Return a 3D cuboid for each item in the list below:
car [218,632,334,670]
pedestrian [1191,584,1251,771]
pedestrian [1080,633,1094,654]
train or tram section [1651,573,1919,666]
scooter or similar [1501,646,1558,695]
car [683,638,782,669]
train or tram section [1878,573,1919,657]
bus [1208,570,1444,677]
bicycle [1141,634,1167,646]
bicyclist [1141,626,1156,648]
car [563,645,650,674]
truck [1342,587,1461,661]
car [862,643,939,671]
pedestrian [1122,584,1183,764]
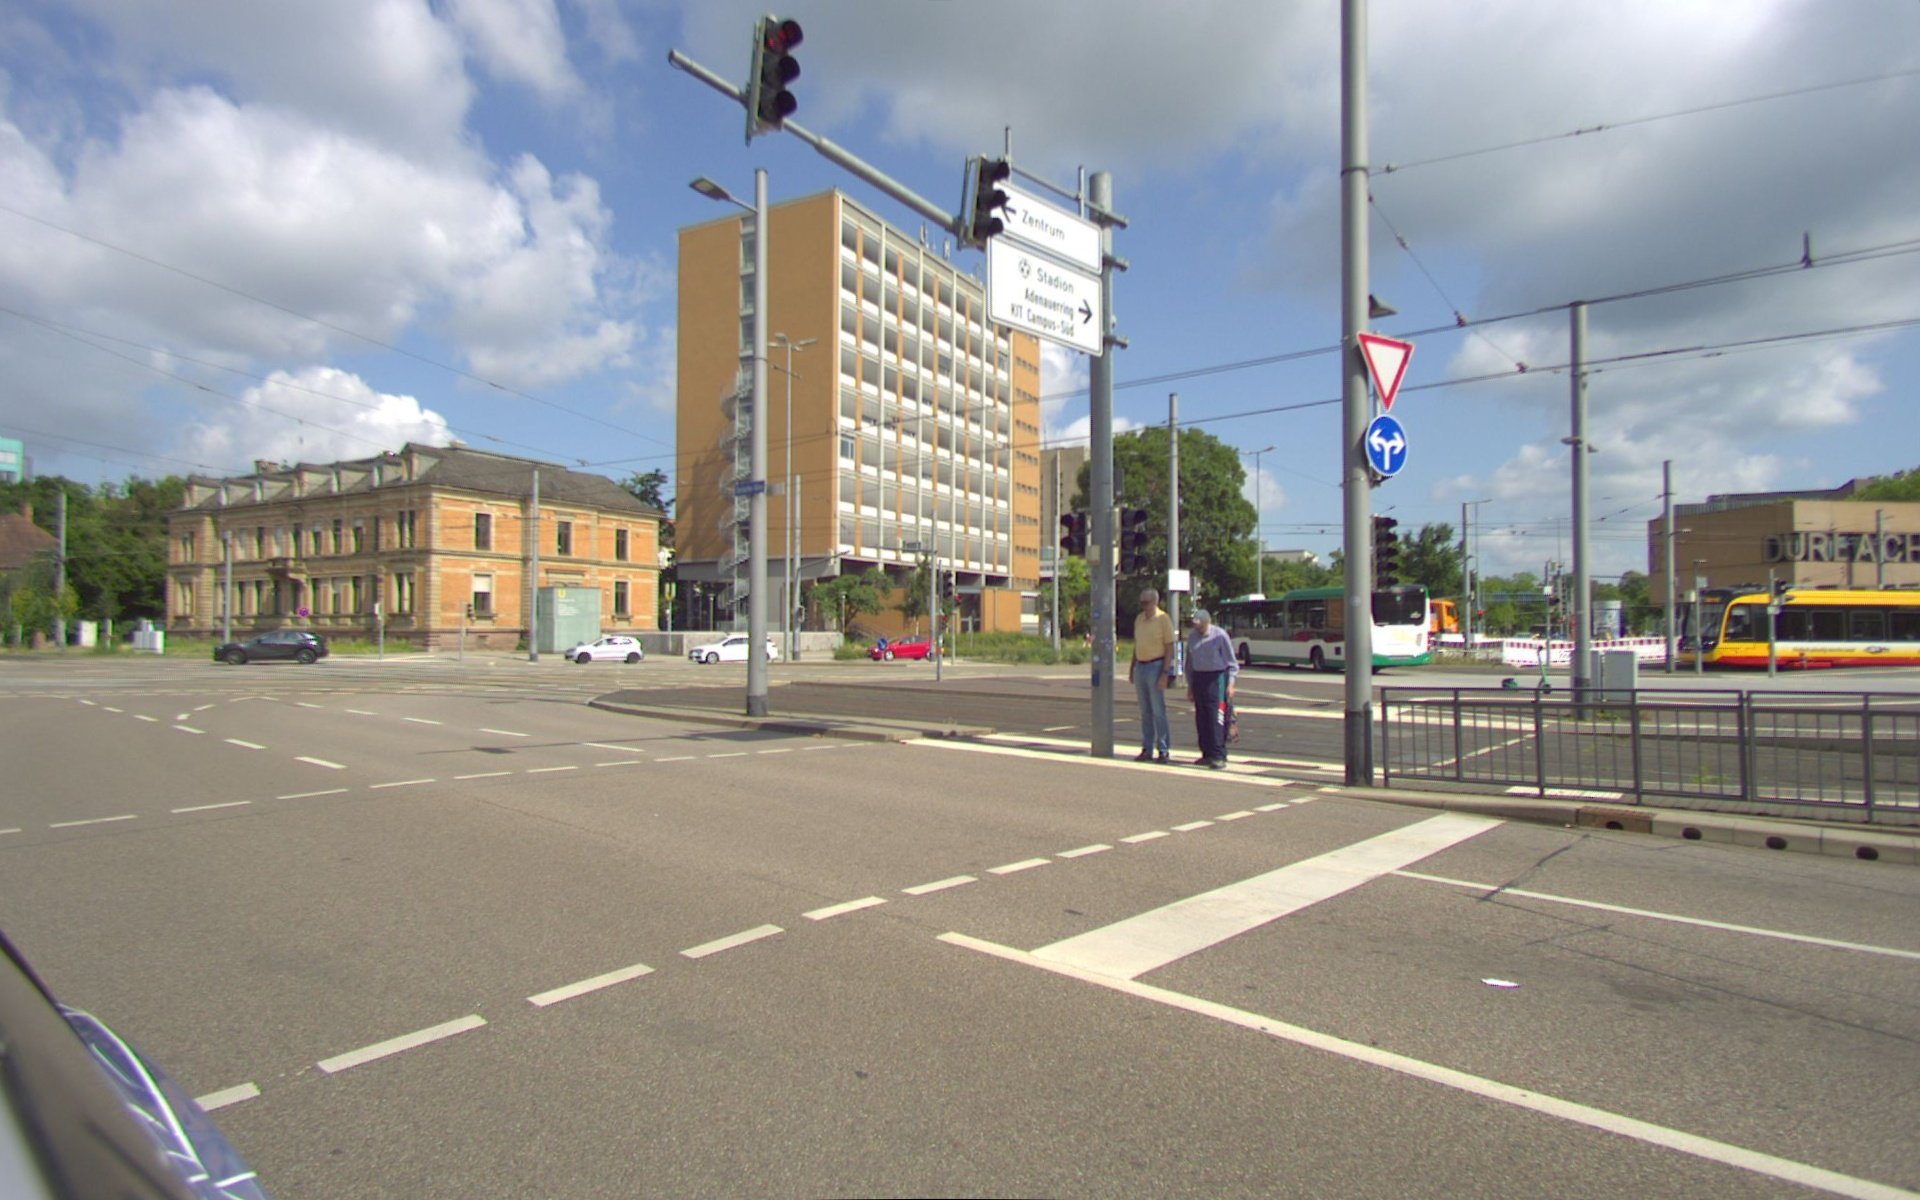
[{"bbox_3d":[-30.773,2.284,45.670,4.139,1.588,1.652,0,-4,-26],"label":"car"},{"bbox_3d":[2.931,0.852,11.359,0.514,2.029,0.498,-1,-3,30],"label":"pedestrian"},{"bbox_3d":[9.764,3.333,77.776,0.947,1.590,0.766,-1,-2,13],"label":"pedestrian"},{"bbox_3d":[35.134,0.834,42.166,10.448,3.507,3.327,-1,-3,-4],"label":"train or tram section"},{"bbox_3d":[14.043,1.725,24.955,1.164,1.175,0.804,-1,-2,33],"label":"scooter or similar"},{"bbox_3d":[-11.677,2.756,51.990,4.595,1.440,1.768,0,-4,-31],"label":"car"},{"bbox_3d":[45.530,0.513,42.854,10.448,3.507,3.327,-1,-3,-4],"label":"train or tram section"},{"bbox_3d":[14.051,1.009,40.705,2.868,3.648,12.405,1,-2,-11],"label":"bus"},{"bbox_3d":[14.934,3.109,77.881,1.778,0.881,0.763,1,0,-19],"label":"bicycle"},{"bbox_3d":[14.476,2.843,77.847,0.921,1.684,0.581,0,-1,-19],"label":"bicyclist"},{"bbox_3d":[-18.230,3.070,52.227,4.008,1.396,1.593,0,-4,-30],"label":"car"},{"bbox_3d":[25.634,1.445,58.544,7.941,4.039,2.843,2,-3,-38],"label":"truck"},{"bbox_3d":[-3.345,3.193,56.812,3.997,1.479,1.651,1,-4,-34],"label":"car"},{"bbox_3d":[2.230,0.840,11.735,0.576,2.029,0.422,-1,-3,30],"label":"pedestrian"}]
